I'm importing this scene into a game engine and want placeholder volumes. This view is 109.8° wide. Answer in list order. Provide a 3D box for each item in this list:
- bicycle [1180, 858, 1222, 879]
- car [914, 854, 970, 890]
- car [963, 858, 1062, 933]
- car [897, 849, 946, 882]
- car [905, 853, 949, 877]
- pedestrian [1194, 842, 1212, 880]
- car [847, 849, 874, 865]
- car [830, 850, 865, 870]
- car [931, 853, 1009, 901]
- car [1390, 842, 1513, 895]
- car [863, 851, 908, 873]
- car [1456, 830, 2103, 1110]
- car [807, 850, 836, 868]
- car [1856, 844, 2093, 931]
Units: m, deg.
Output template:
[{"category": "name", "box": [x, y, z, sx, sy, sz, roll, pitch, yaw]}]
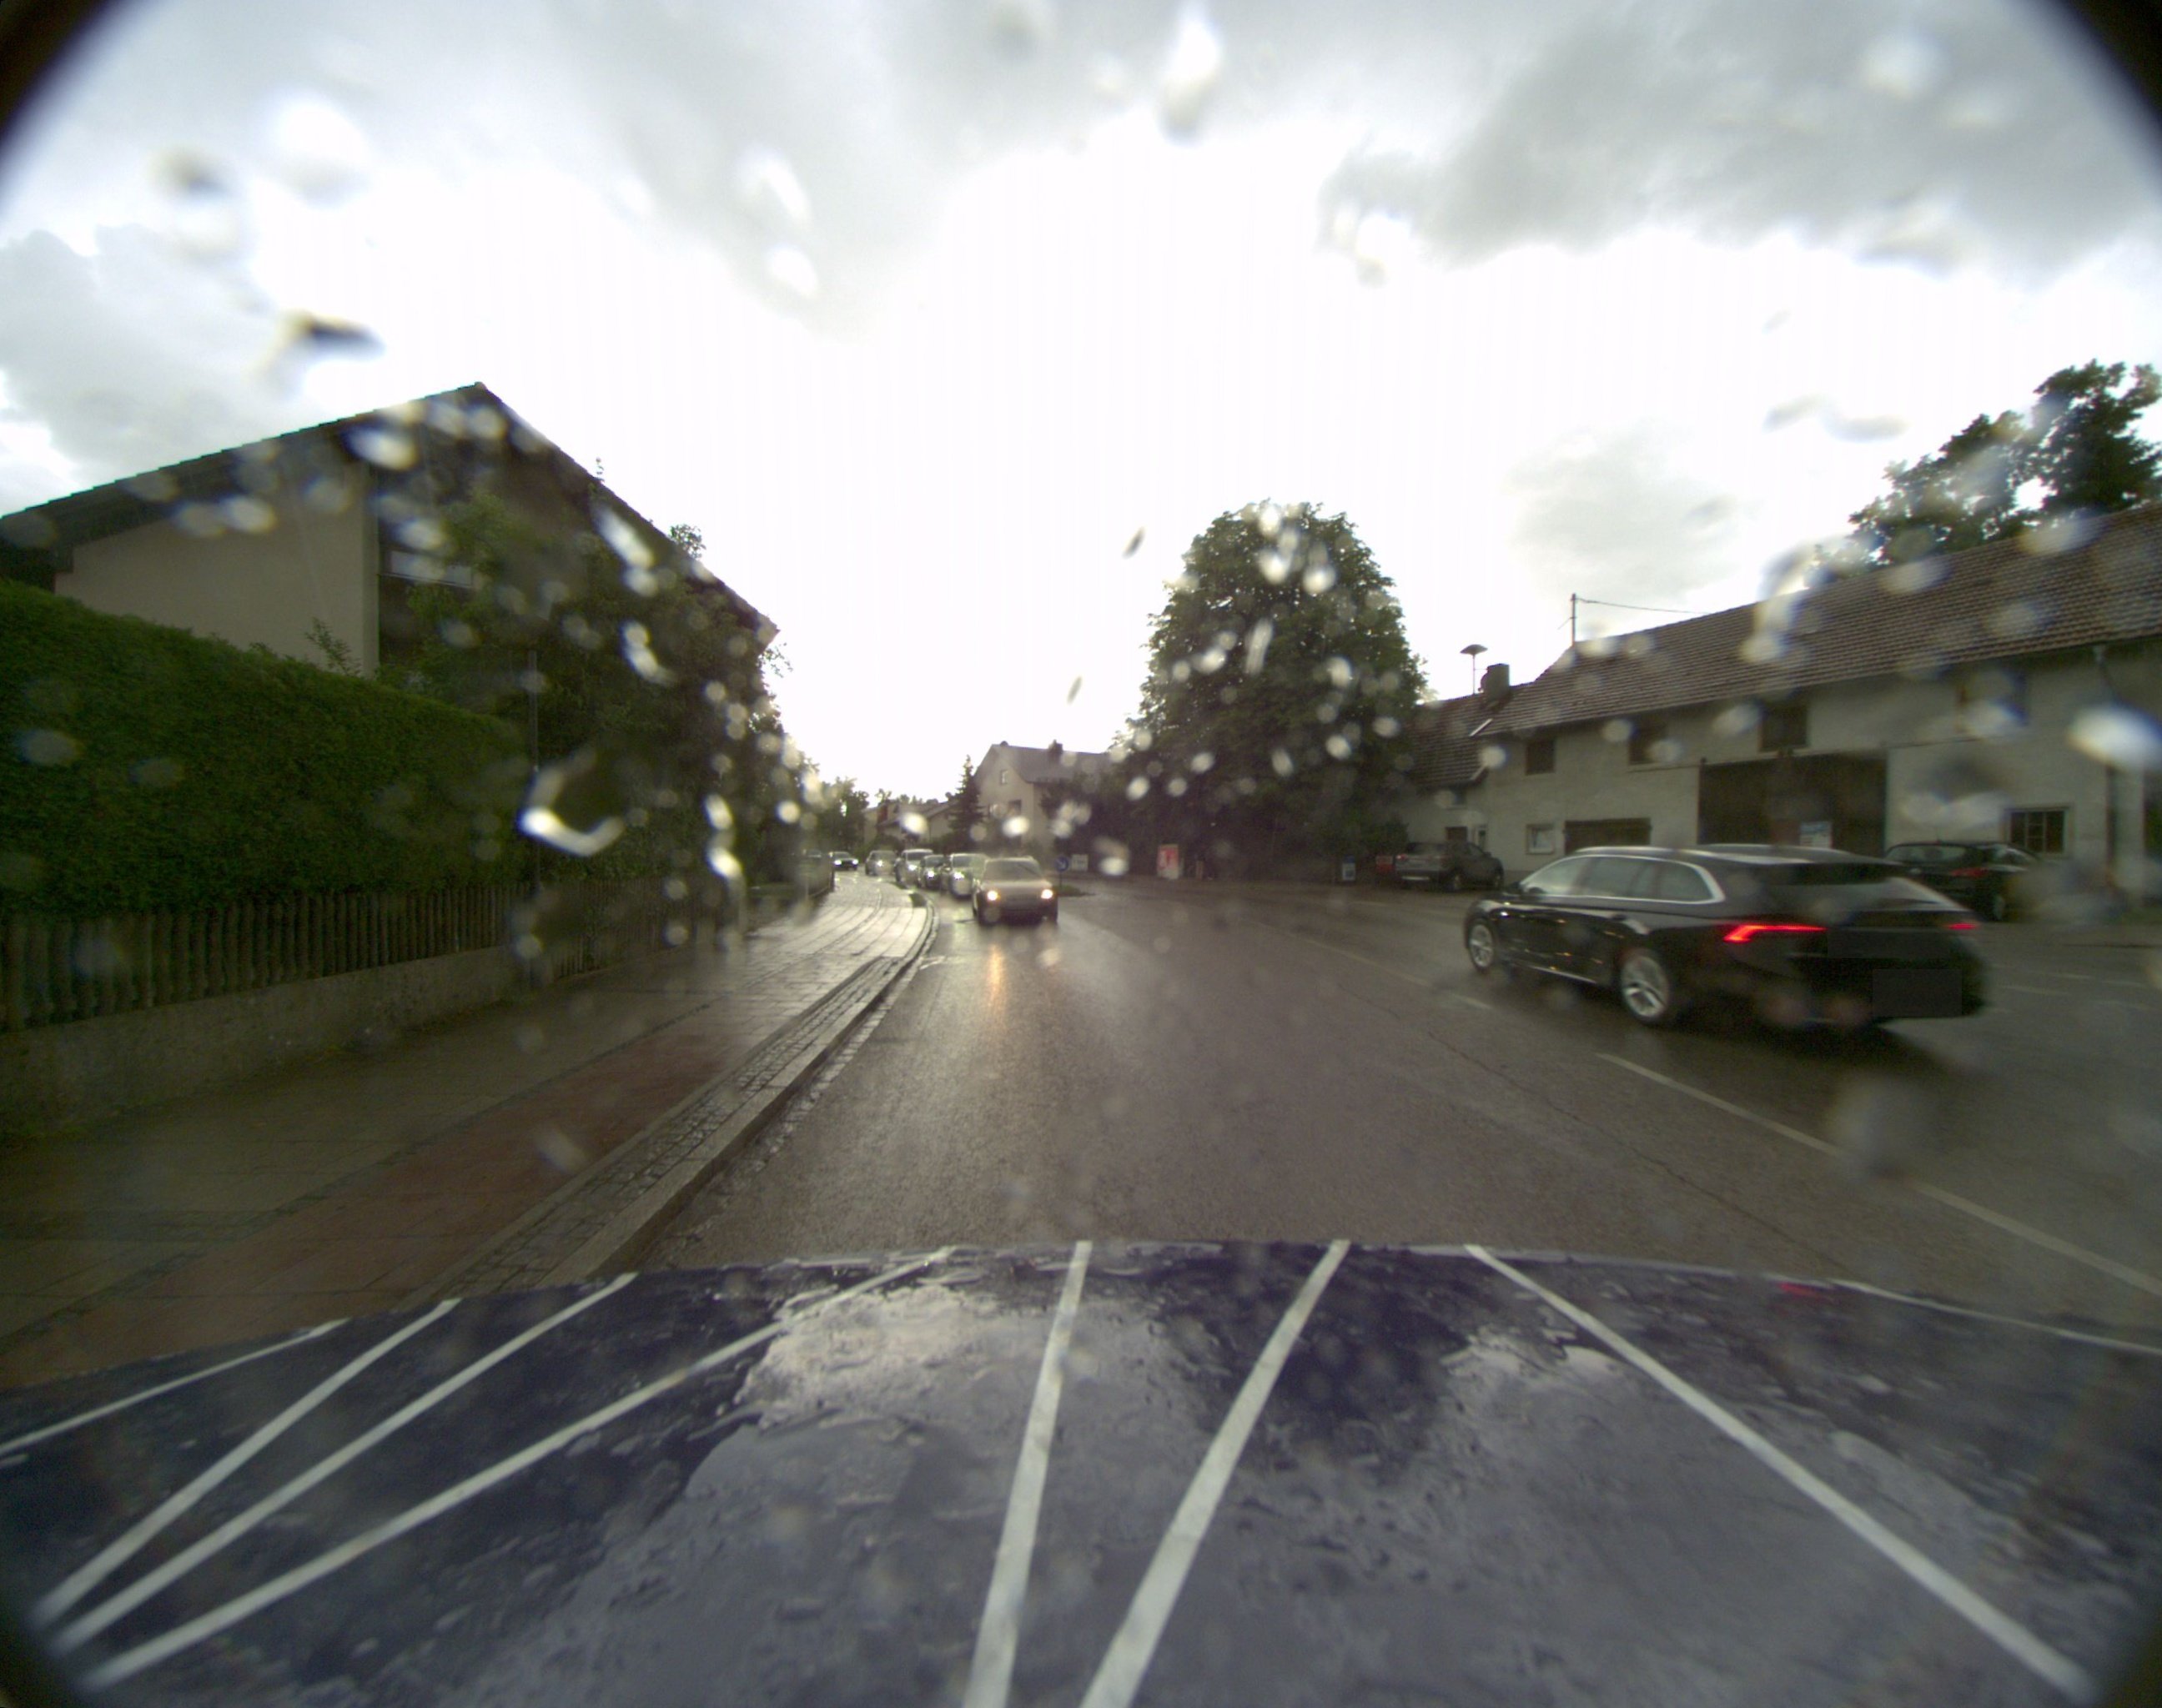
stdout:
[{"category": "bicycle", "box": [5.339, 0.628, 33.852, 0.665, 0.897, 1.869, -2, 1, -41]}, {"category": "car", "box": [-6.139, 0.735, 33.192, 1.796, 1.387, 4.274, -2, 1, -18]}, {"category": "car", "box": [-1.727, 0.862, 17.817, 1.795, 1.387, 4.276, -2, 1, -12]}, {"category": "car", "box": [-8.329, 0.544, 39.482, 1.797, 1.539, 4.273, -3, 1, -21]}, {"category": "car", "box": [-11.089, 0.766, 54.454, 2.003, 1.586, 4.182, -2, 1, -28]}, {"category": "pedestrian", "box": [5.277, 0.317, 32.791, 0.652, 1.619, 0.479, 0, 1, 20]}, {"category": "car", "box": [-22.806, 0.317, 78.424, 1.797, 1.539, 4.271, -3, 1, -28]}, {"category": "car", "box": [-19.215, 0.484, 62.383, 1.798, 1.539, 4.271, -3, 1, -30]}, {"category": "car", "box": [-4.103, 0.735, 27.342, 1.796, 1.471, 5.376, -2, 1, -18]}, {"category": "car", "box": [11.699, 0.440, 23.862, 4.290, 1.539, 1.812, 1, 0, -39]}, {"category": "car", "box": [-13.092, 0.506, 50.690, 1.798, 1.365, 4.271, -3, 1, -30]}, {"category": "car", "box": [5.286, 0.701, 6.789, 1.788, 1.653, 4.447, -1, 0, 2]}, {"category": "car", "box": [-25.034, 0.462, 73.167, 1.798, 1.539, 4.271, -3, 1, -30]}, {"category": "car", "box": [17.027, 0.545, 14.472, 4.286, 1.428, 1.817, -1, 1, -25]}]
